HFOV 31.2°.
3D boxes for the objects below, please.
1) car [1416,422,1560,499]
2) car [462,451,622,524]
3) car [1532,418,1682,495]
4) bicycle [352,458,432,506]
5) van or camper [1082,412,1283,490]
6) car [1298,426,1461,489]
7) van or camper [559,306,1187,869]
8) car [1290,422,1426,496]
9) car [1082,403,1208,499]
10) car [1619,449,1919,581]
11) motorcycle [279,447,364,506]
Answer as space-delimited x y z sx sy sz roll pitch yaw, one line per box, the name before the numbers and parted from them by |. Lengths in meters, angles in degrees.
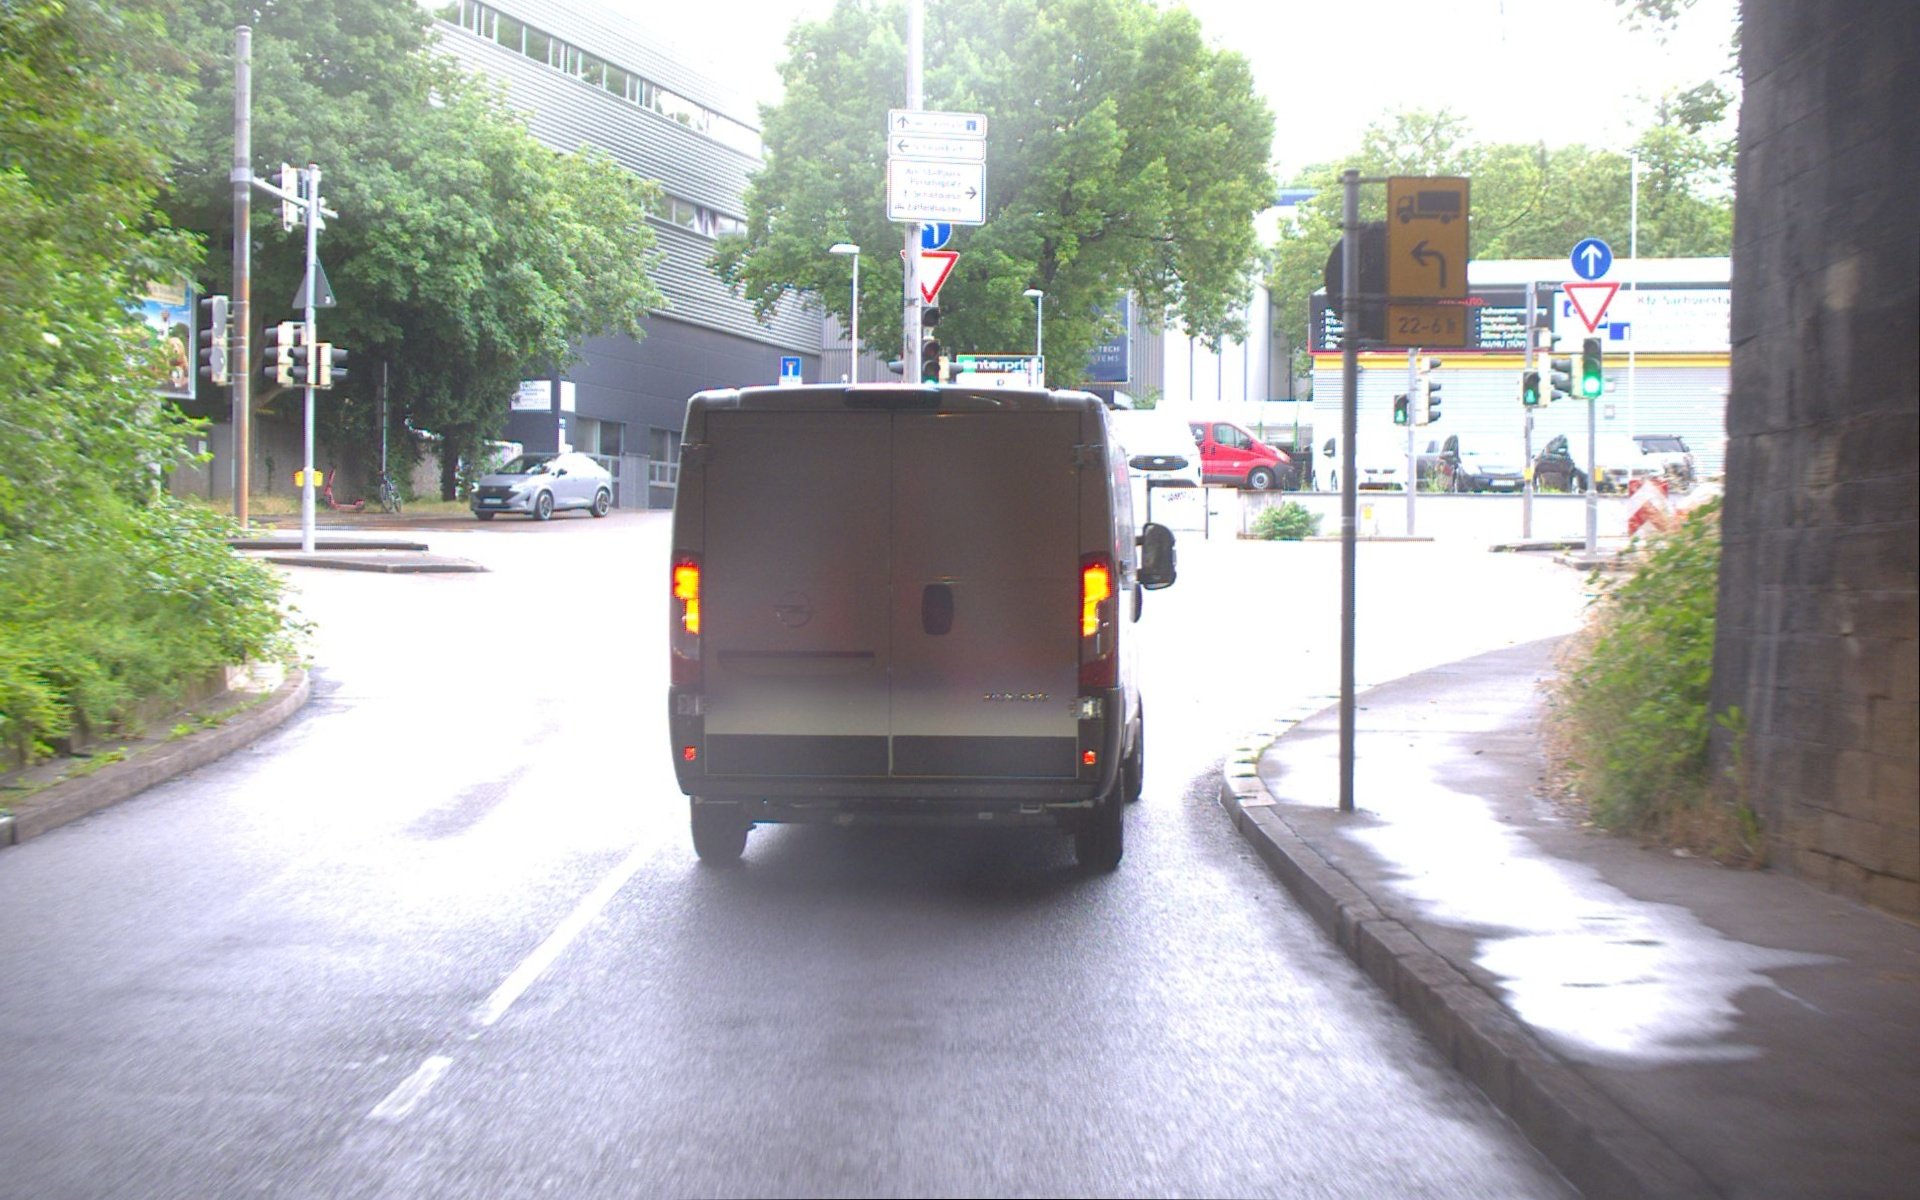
car | 11.191 -2.947 73.149 1.993 1.534 4.001 1 1 -7
car | -10.108 -2.720 83.414 1.996 1.682 3.994 1 1 26
car | 13.705 -3.026 73.044 1.993 1.534 4.001 1 1 -7
bicycle | -14.022 -2.910 84.891 0.928 1.124 2.288 1 1 20
van or camper | 6.003 -4.000 92.464 5.309 2.007 2.078 1 1 6
car | 10.673 -3.619 87.341 3.989 1.534 1.999 1 1 11
van or camper | -0.315 -0.106 17.332 2.698 2.408 4.903 1 1 2
car | 8.504 -3.008 73.738 1.993 1.481 4.001 1 1 -7
car | 3.908 -3.153 73.323 1.993 1.941 4.001 1 1 -7
car | 9.496 -0.936 39.141 4.091 1.433 1.841 0 1 -43
motorcycle | -15.758 -3.052 84.890 1.987 1.417 0.659 1 1 -4
